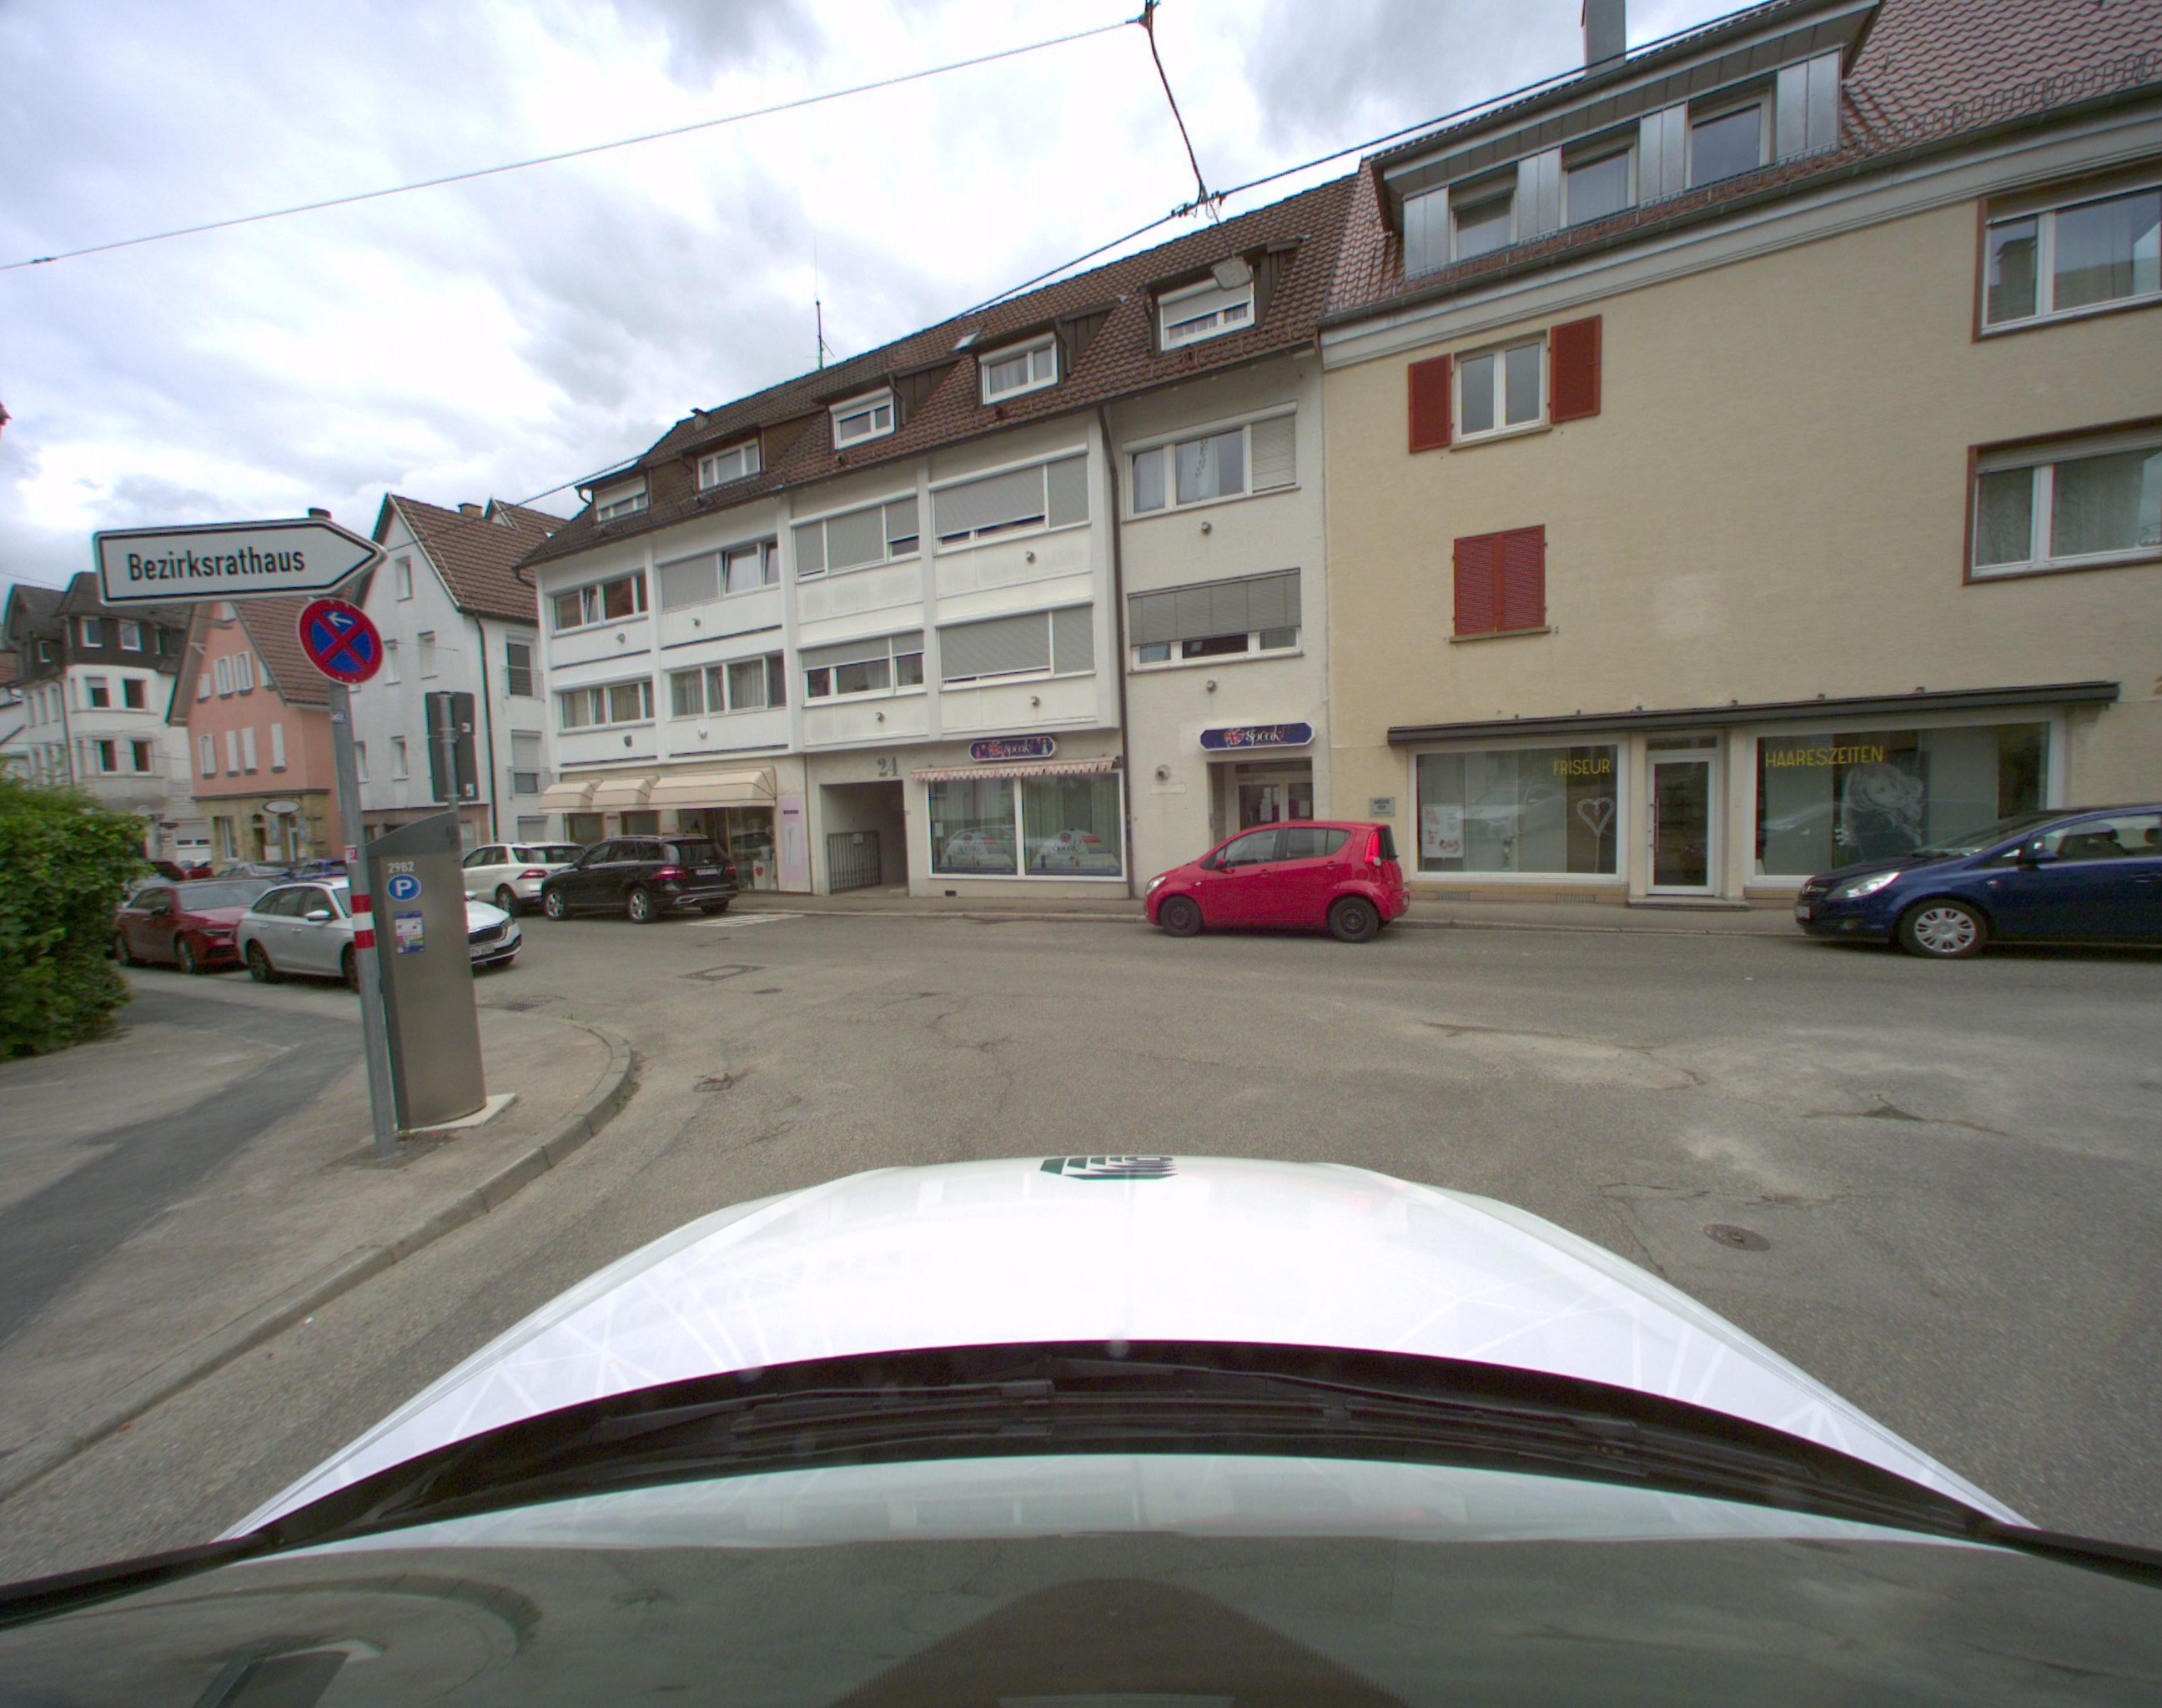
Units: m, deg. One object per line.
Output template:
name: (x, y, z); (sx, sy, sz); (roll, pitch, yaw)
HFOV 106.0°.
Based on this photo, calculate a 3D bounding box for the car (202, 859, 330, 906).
car: (-27.026, 0.929, 27.005); (3.981, 1.390, 1.765); (-1, 2, 26)

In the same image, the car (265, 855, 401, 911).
car: (-22.610, 0.851, 24.608); (3.734, 1.474, 1.791); (-1, 3, 28)

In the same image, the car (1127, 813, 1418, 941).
car: (2.698, 0.299, 11.558); (3.648, 1.556, 1.708); (-1, 1, 29)

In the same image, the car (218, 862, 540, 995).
car: (-10.091, 0.980, 11.696); (4.242, 1.460, 1.810); (-2, 5, 25)

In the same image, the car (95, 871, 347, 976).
car: (-14.927, 1.122, 14.124); (4.119, 1.417, 1.786); (-1, 5, 27)

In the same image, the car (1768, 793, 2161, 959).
car: (9.526, 0.196, 8.064); (3.870, 1.450, 1.707); (-1, 0, 28)

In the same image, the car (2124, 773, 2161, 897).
car: (16.255, -0.301, 10.312); (1.928, 1.866, 4.932); (-2, -1, 29)

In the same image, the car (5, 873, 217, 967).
car: (-19.485, 1.250, 16.351); (3.931, 1.494, 1.786); (-1, 5, 28)

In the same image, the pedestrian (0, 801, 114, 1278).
pedestrian: (-4.171, 0.663, 2.908); (0.646, 1.684, 0.602); (-2, 0, -10)

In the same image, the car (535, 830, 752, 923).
car: (-9.483, 0.483, 17.613); (4.313, 1.779, 1.959); (-2, 1, 27)

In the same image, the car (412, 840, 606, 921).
car: (-13.986, 0.602, 19.901); (4.322, 1.711, 1.952); (-1, 3, 26)
